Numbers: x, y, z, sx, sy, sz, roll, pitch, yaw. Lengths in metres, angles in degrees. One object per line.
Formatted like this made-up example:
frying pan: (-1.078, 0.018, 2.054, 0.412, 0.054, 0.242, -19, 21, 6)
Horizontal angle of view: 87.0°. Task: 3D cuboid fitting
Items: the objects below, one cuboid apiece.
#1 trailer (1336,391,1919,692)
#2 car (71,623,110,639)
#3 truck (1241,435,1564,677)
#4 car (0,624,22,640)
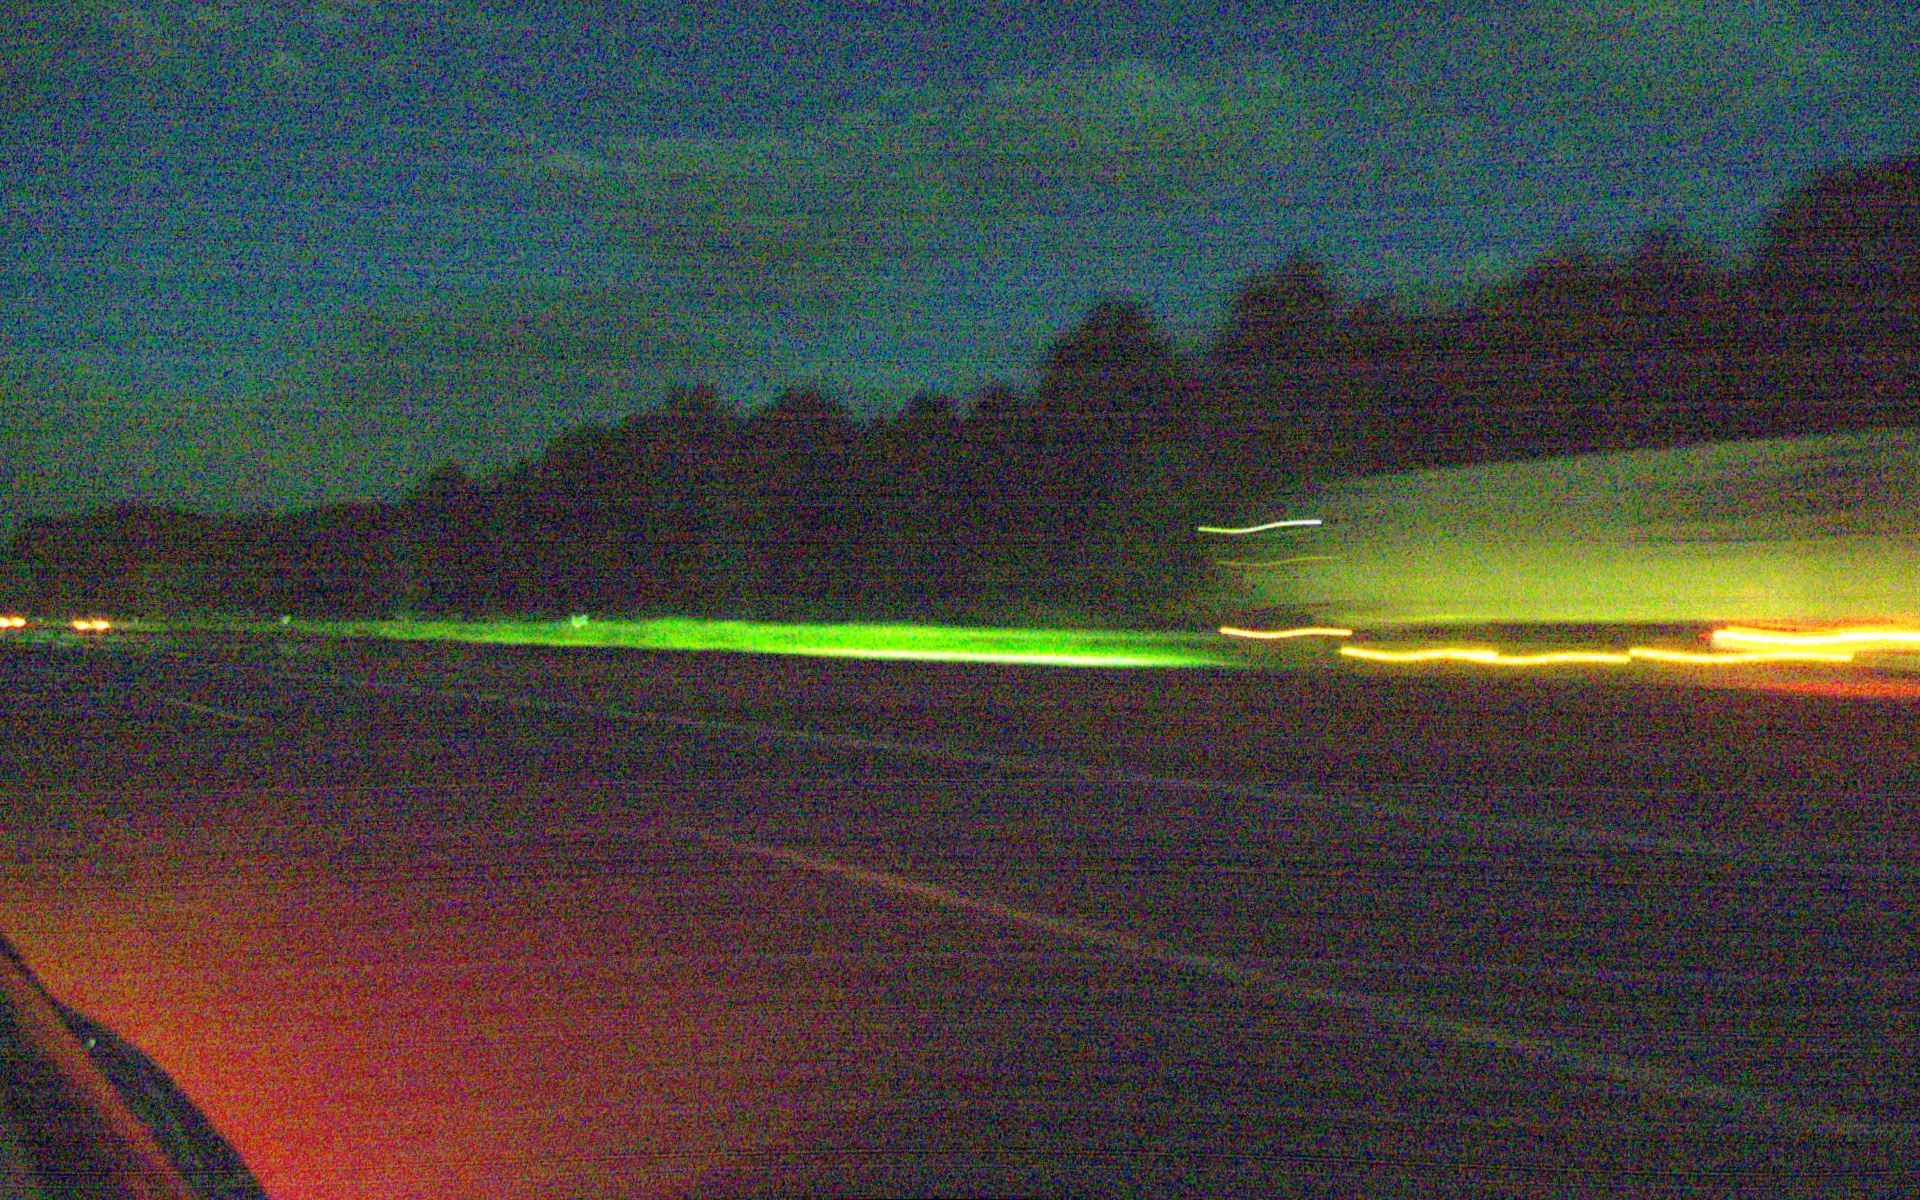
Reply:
trailer: (14.645, -0.830, 15.103, 17.253, 4.249, 2.659, -1, -1, 43)
car: (-78.388, 2.777, 91.218, 4.396, 1.342, 1.973, 0, -1, 41)
truck: (8.816, -0.745, 20.486, 5.420, 4.231, 2.684, -1, -1, 43)
car: (-109.779, 3.677, 116.608, 4.394, 1.663, 1.974, 0, -1, 39)
